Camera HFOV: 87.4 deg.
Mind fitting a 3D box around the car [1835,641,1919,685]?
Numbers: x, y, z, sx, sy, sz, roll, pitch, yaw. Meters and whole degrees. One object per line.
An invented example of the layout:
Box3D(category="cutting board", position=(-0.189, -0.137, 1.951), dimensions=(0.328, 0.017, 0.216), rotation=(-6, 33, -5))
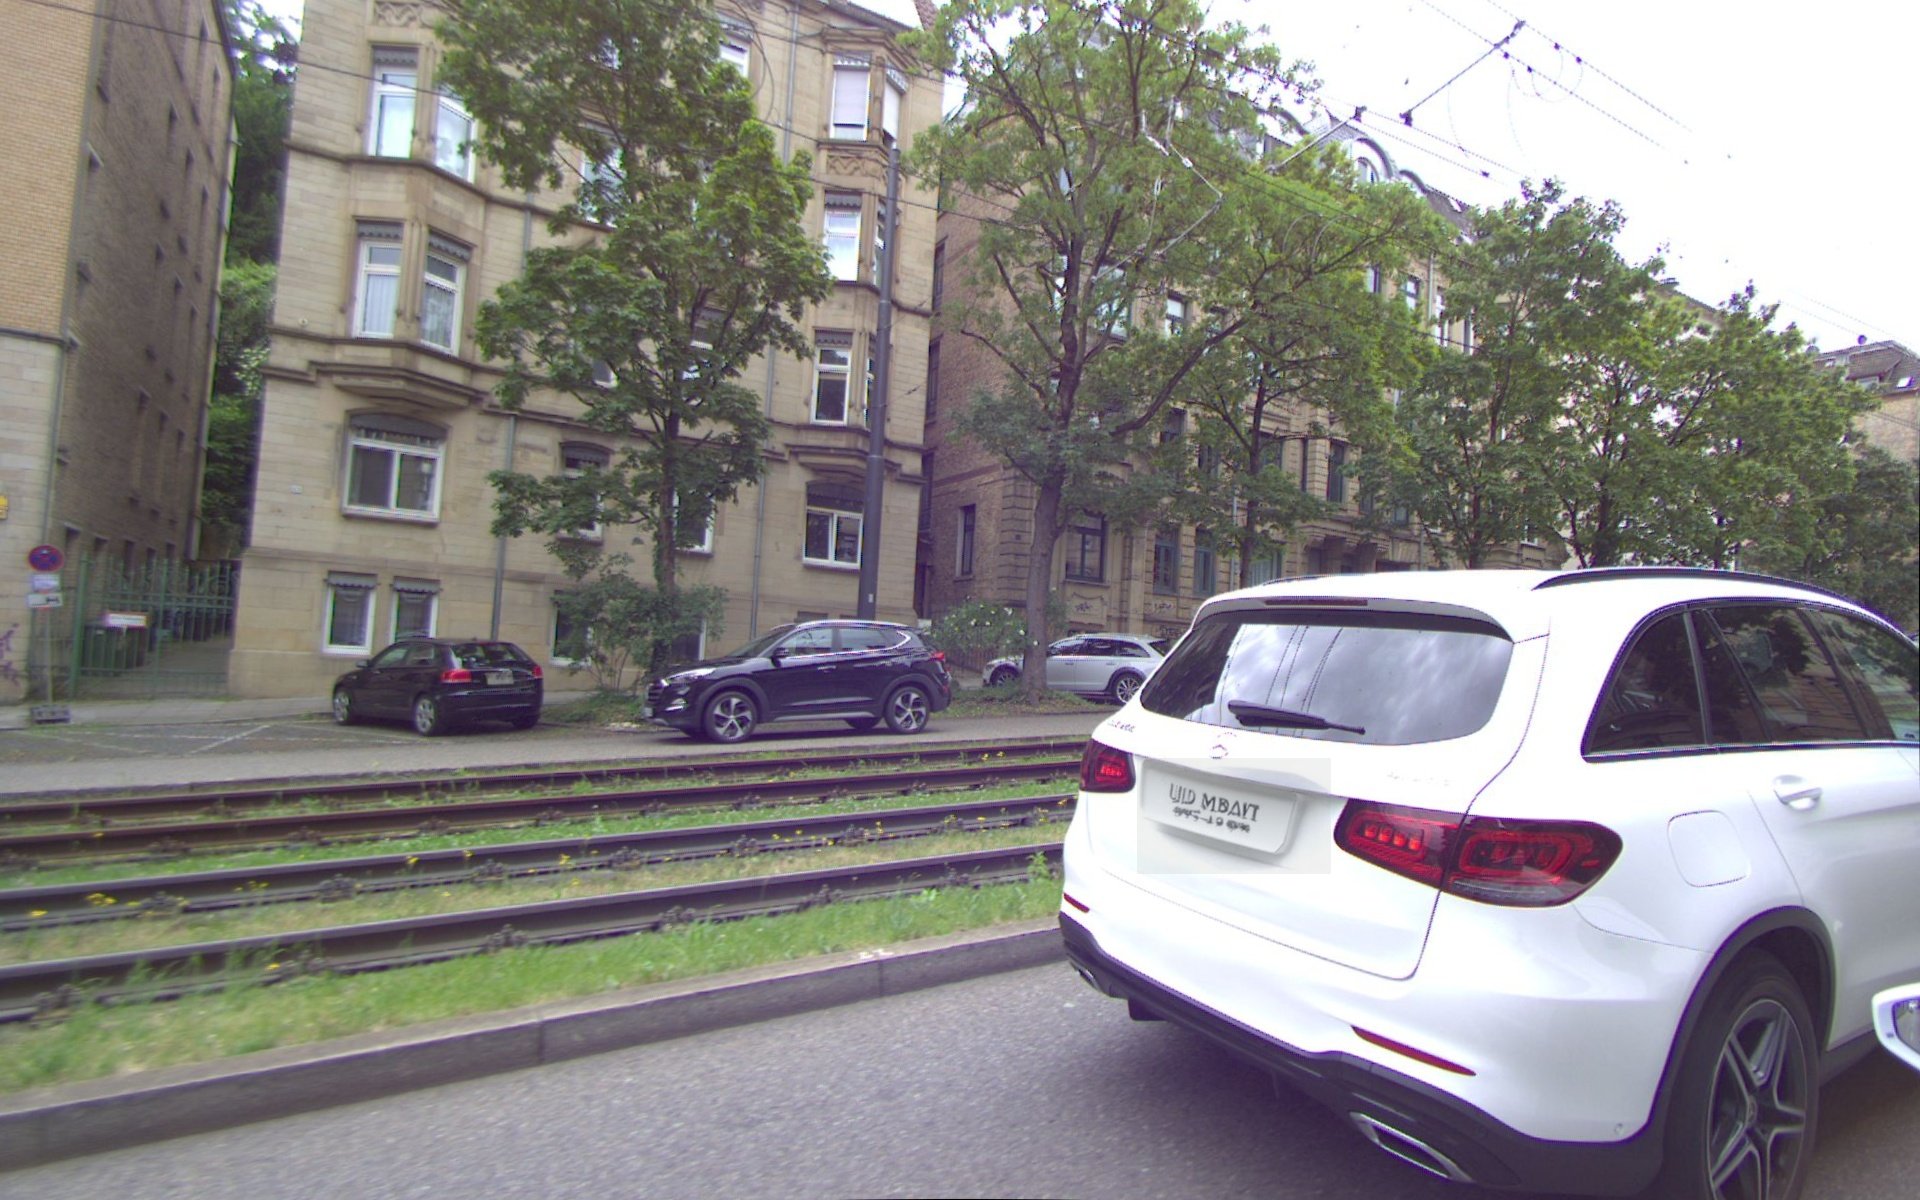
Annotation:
Box3D(category="car", position=(33.161, 2.230, 35.608), dimensions=(4.441, 1.454, 1.857), rotation=(2, -5, -31))

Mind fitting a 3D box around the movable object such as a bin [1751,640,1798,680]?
Box3D(category="movable object such as a bin", position=(30.575, 2.231, 37.696), dimensions=(1.261, 1.419, 1.089), rotation=(-1, -2, 45))

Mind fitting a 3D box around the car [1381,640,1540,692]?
Box3D(category="car", position=(14.987, 1.928, 30.103), dimensions=(4.118, 1.454, 1.868), rotation=(-1, -3, 31))

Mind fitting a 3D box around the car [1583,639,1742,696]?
Box3D(category="car", position=(19.055, 1.802, 27.211), dimensions=(4.543, 1.428, 1.717), rotation=(1, -4, -30))

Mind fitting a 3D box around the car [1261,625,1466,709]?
Box3D(category="car", position=(8.662, 1.411, 21.479), dimensions=(4.294, 1.637, 1.773), rotation=(2, -4, -30))

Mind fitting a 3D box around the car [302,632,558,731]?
Box3D(category="car", position=(-8.426, 1.204, 15.893), dimensions=(4.110, 1.382, 1.709), rotation=(-1, -2, 31))

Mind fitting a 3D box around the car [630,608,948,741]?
Box3D(category="car", position=(-2.429, 1.043, 14.506), dimensions=(4.192, 1.678, 1.773), rotation=(2, -4, -30))

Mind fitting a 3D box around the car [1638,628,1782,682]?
Box3D(category="car", position=(27.535, 2.009, 37.077), dimensions=(4.121, 1.860, 1.866), rotation=(-2, -3, 34))

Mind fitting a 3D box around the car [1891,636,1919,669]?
Box3D(category="car", position=(50.954, 2.721, 51.357), dimensions=(4.522, 1.639, 1.934), rotation=(1, -1, 27))

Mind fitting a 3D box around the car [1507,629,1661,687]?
Box3D(category="car", position=(20.252, 1.869, 32.780), dimensions=(4.118, 1.791, 1.868), rotation=(-1, -3, 31))

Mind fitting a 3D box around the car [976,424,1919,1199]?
Box3D(category="car", position=(2.498, 0.615, 3.661), dimensions=(4.617, 1.689, 1.827), rotation=(2, -1, -31))

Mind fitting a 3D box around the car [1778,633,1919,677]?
Box3D(category="car", position=(38.675, 2.358, 43.672), dimensions=(4.523, 1.704, 1.934), rotation=(1, -1, 28))

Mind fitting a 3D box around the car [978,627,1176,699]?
Box3D(category="car", position=(2.622, 1.427, 22.712), dimensions=(4.080, 1.488, 1.784), rotation=(-2, -4, 29))

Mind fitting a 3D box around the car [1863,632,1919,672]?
Box3D(category="car", position=(46.179, 2.512, 47.708), dimensions=(4.514, 1.821, 1.937), rotation=(1, -1, 14))
